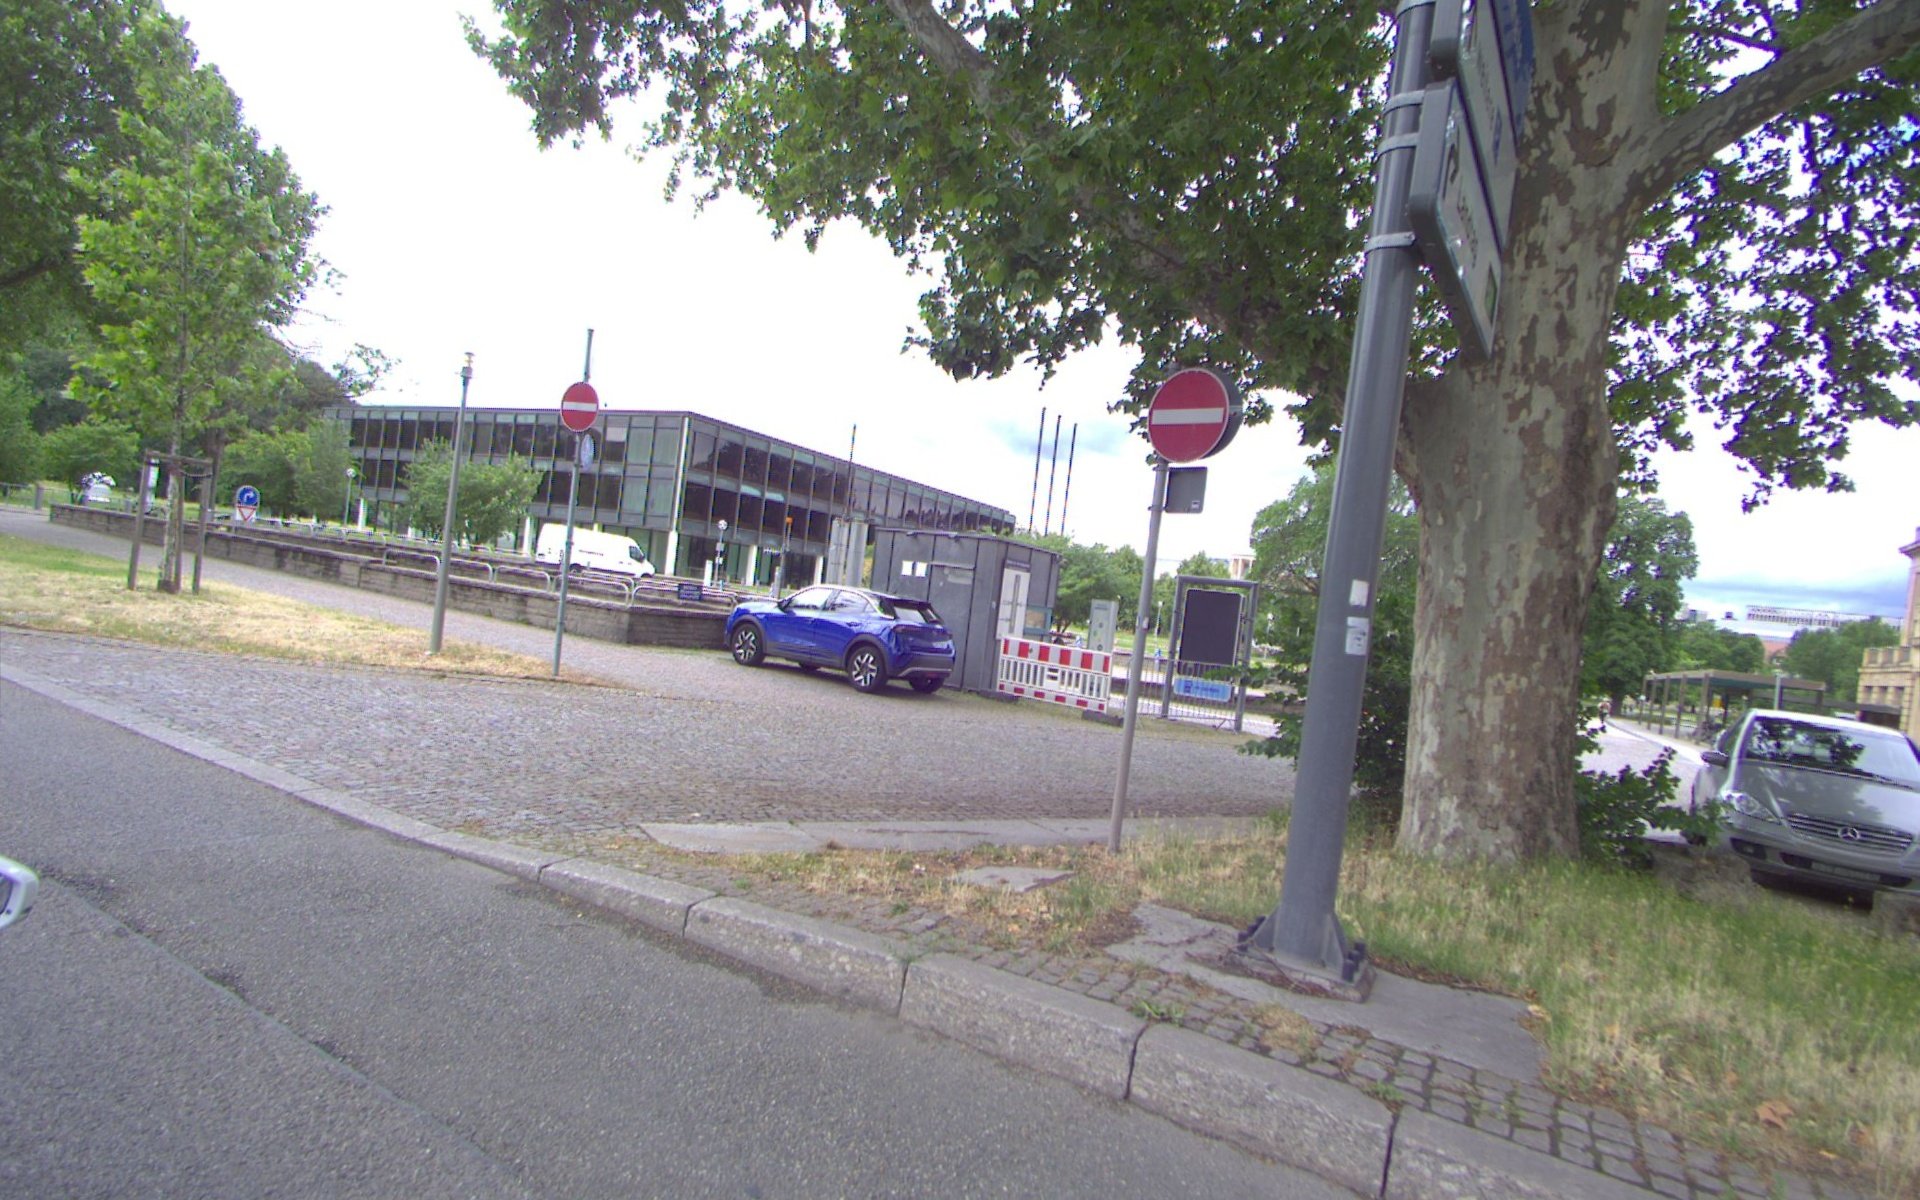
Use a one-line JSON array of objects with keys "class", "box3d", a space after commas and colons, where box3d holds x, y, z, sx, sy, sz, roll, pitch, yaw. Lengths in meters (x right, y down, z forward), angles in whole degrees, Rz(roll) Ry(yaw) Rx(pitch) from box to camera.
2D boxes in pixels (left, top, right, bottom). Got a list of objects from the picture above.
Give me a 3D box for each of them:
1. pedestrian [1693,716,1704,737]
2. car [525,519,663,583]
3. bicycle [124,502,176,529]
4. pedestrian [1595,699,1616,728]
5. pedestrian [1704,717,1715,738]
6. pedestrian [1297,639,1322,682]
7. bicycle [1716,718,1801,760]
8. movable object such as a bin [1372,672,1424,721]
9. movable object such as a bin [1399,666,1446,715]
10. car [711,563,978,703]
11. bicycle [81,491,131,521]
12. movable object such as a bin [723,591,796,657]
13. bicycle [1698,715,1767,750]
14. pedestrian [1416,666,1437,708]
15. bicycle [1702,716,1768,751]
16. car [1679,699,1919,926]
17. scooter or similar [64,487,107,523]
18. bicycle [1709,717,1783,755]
[{"class": "pedestrian", "box3d": [67.736, 11.567, 92.281, 0.648, 1.826, 0.539, 9, -2, -42]}, {"class": "car", "box3d": [-18.176, -2.375, 50.284, 2.362, 2.288, 6.114, 7, -1, 33]}, {"class": "bicycle", "box3d": [-38.285, -3.993, 47.548, 2.740, 0.986, 0.956, 6, -2, 31]}, {"class": "pedestrian", "box3d": [43.812, 7.696, 68.290, 0.929, 1.826, 0.546, 7, -1, 4]}, {"class": "pedestrian", "box3d": [68.264, 11.611, 91.668, 0.648, 1.826, 0.539, 9, -2, -42]}, {"class": "pedestrian", "box3d": [17.480, 3.022, 50.356, 0.799, 2.036, 0.625, 9, -2, -39]}, {"class": "bicycle", "box3d": [37.018, 6.423, 46.687, 2.848, 1.442, 0.961, 7, -2, 27]}, {"class": "movable object such as a bin", "box3d": [13.513, 2.976, 31.020, 1.134, 1.320, 1.410, 7, 0, 33]}, {"class": "movable object such as a bin", "box3d": [16.054, 3.149, 34.900, 1.134, 1.515, 1.410, 7, 0, 33]}, {"class": "car", "box3d": [-1.931, 0.514, 16.337, 3.961, 1.571, 1.762, 10, 1, 34]}, {"class": "bicycle", "box3d": [-38.919, -4.292, 45.847, 2.297, 1.075, 0.956, 6, -2, 31]}, {"class": "movable object such as a bin", "box3d": [-3.799, 0.464, 19.126, 0.757, 1.078, 1.009, 11, 2, 29]}, {"class": "bicycle", "box3d": [38.683, 6.625, 50.402, 2.536, 1.360, 0.727, 6, -2, 31]}, {"class": "pedestrian", "box3d": [21.477, 4.003, 46.355, 0.537, 1.826, 0.500, 7, -1, 4]}, {"class": "bicycle", "box3d": [39.956, 6.877, 51.914, 2.536, 1.360, 0.727, 6, -2, 31]}, {"class": "car", "box3d": [8.242, 1.876, 9.699, 1.651, 1.587, 3.842, 7, -1, 31]}, {"class": "scooter or similar", "box3d": [-35.180, -3.846, 40.450, 2.190, 1.259, 0.637, 6, -2, 34]}, {"class": "bicycle", "box3d": [36.912, 6.385, 47.290, 2.536, 1.360, 0.727, 6, -2, 31]}]
